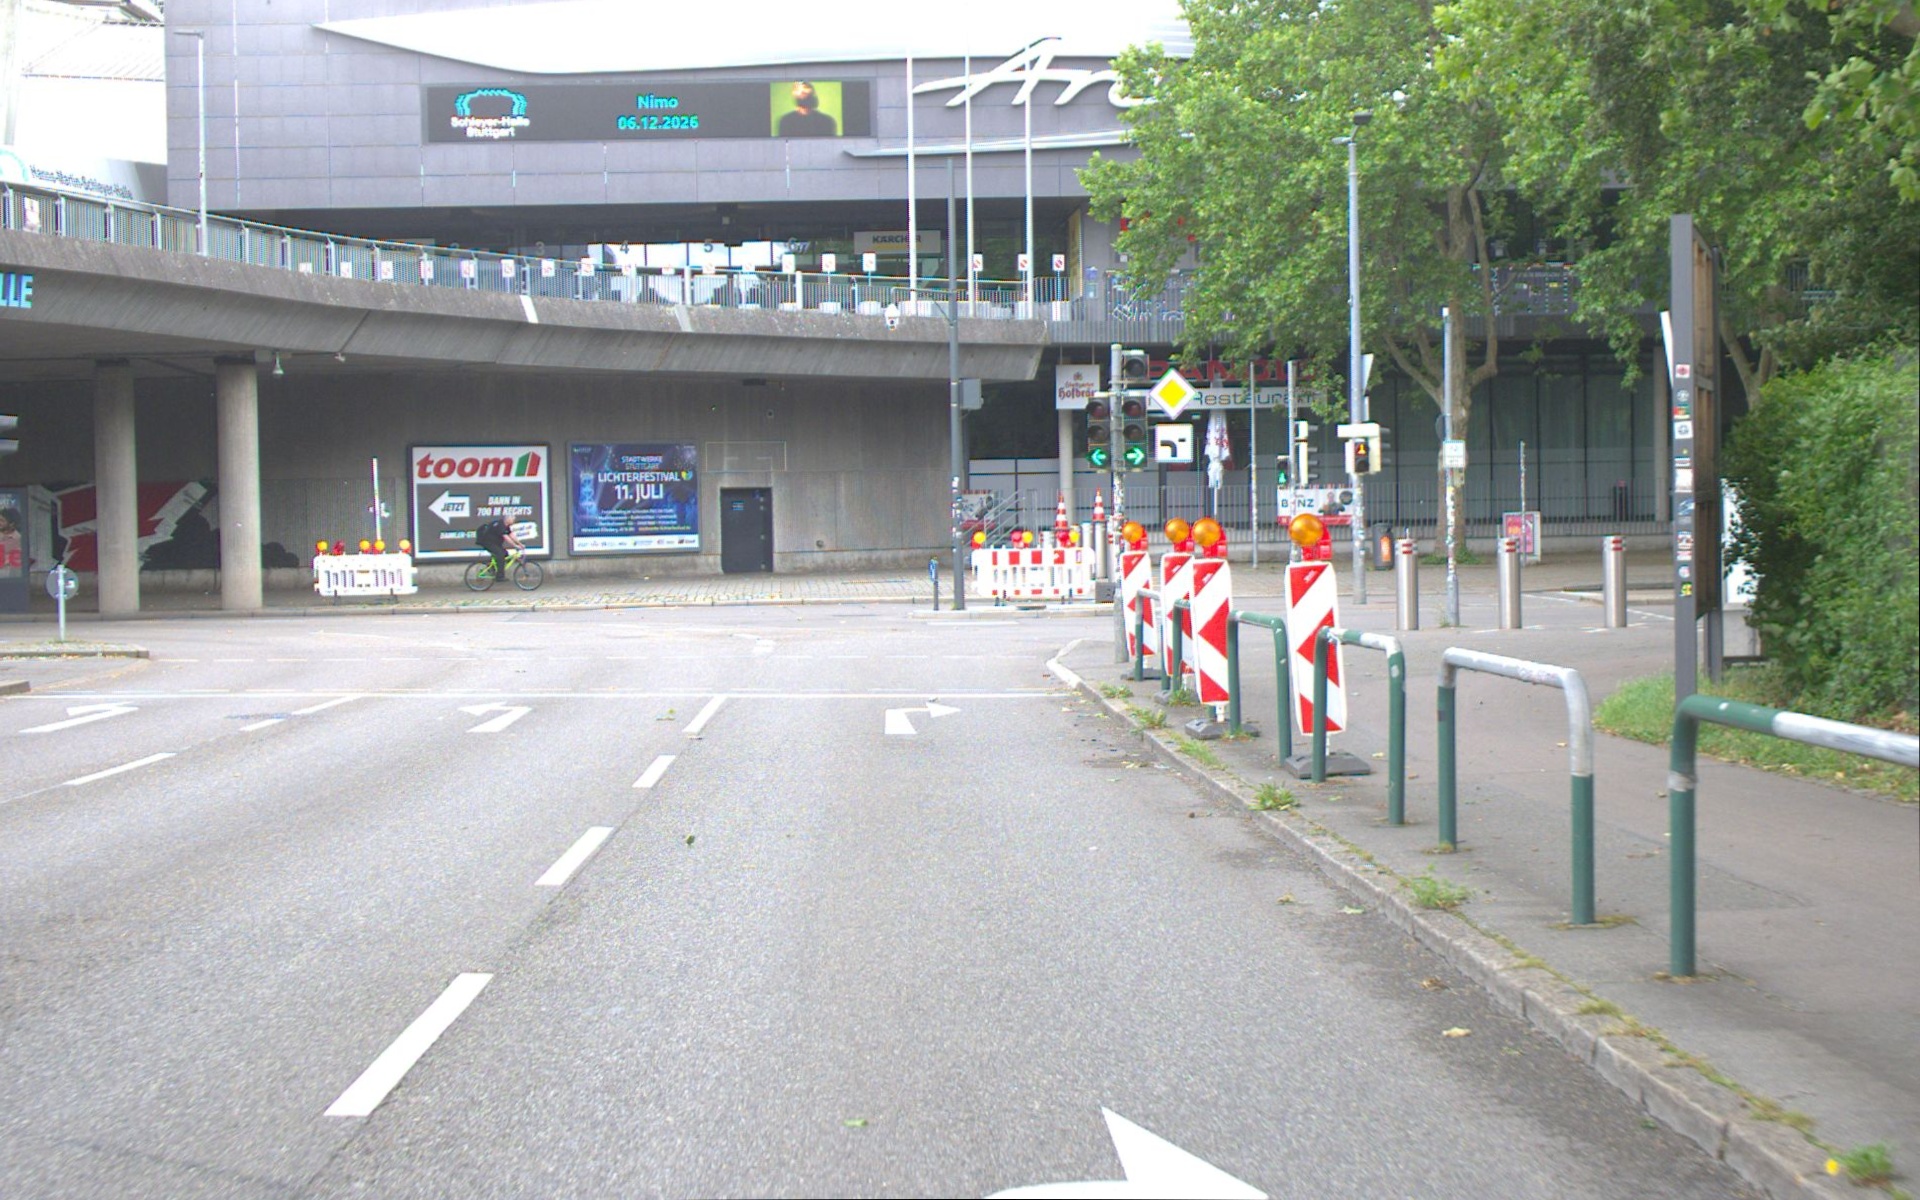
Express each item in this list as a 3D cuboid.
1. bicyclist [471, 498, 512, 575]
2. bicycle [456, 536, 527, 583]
[{"bbox_3d":[-10.366,-1.405,76.133,0.851,1.692,0.767,1,0,-5],"label":"bicyclist"},{"bbox_3d":[-10.365,-0.896,76.131,1.532,1.009,0.517,1,0,-5],"label":"bicycle"}]
